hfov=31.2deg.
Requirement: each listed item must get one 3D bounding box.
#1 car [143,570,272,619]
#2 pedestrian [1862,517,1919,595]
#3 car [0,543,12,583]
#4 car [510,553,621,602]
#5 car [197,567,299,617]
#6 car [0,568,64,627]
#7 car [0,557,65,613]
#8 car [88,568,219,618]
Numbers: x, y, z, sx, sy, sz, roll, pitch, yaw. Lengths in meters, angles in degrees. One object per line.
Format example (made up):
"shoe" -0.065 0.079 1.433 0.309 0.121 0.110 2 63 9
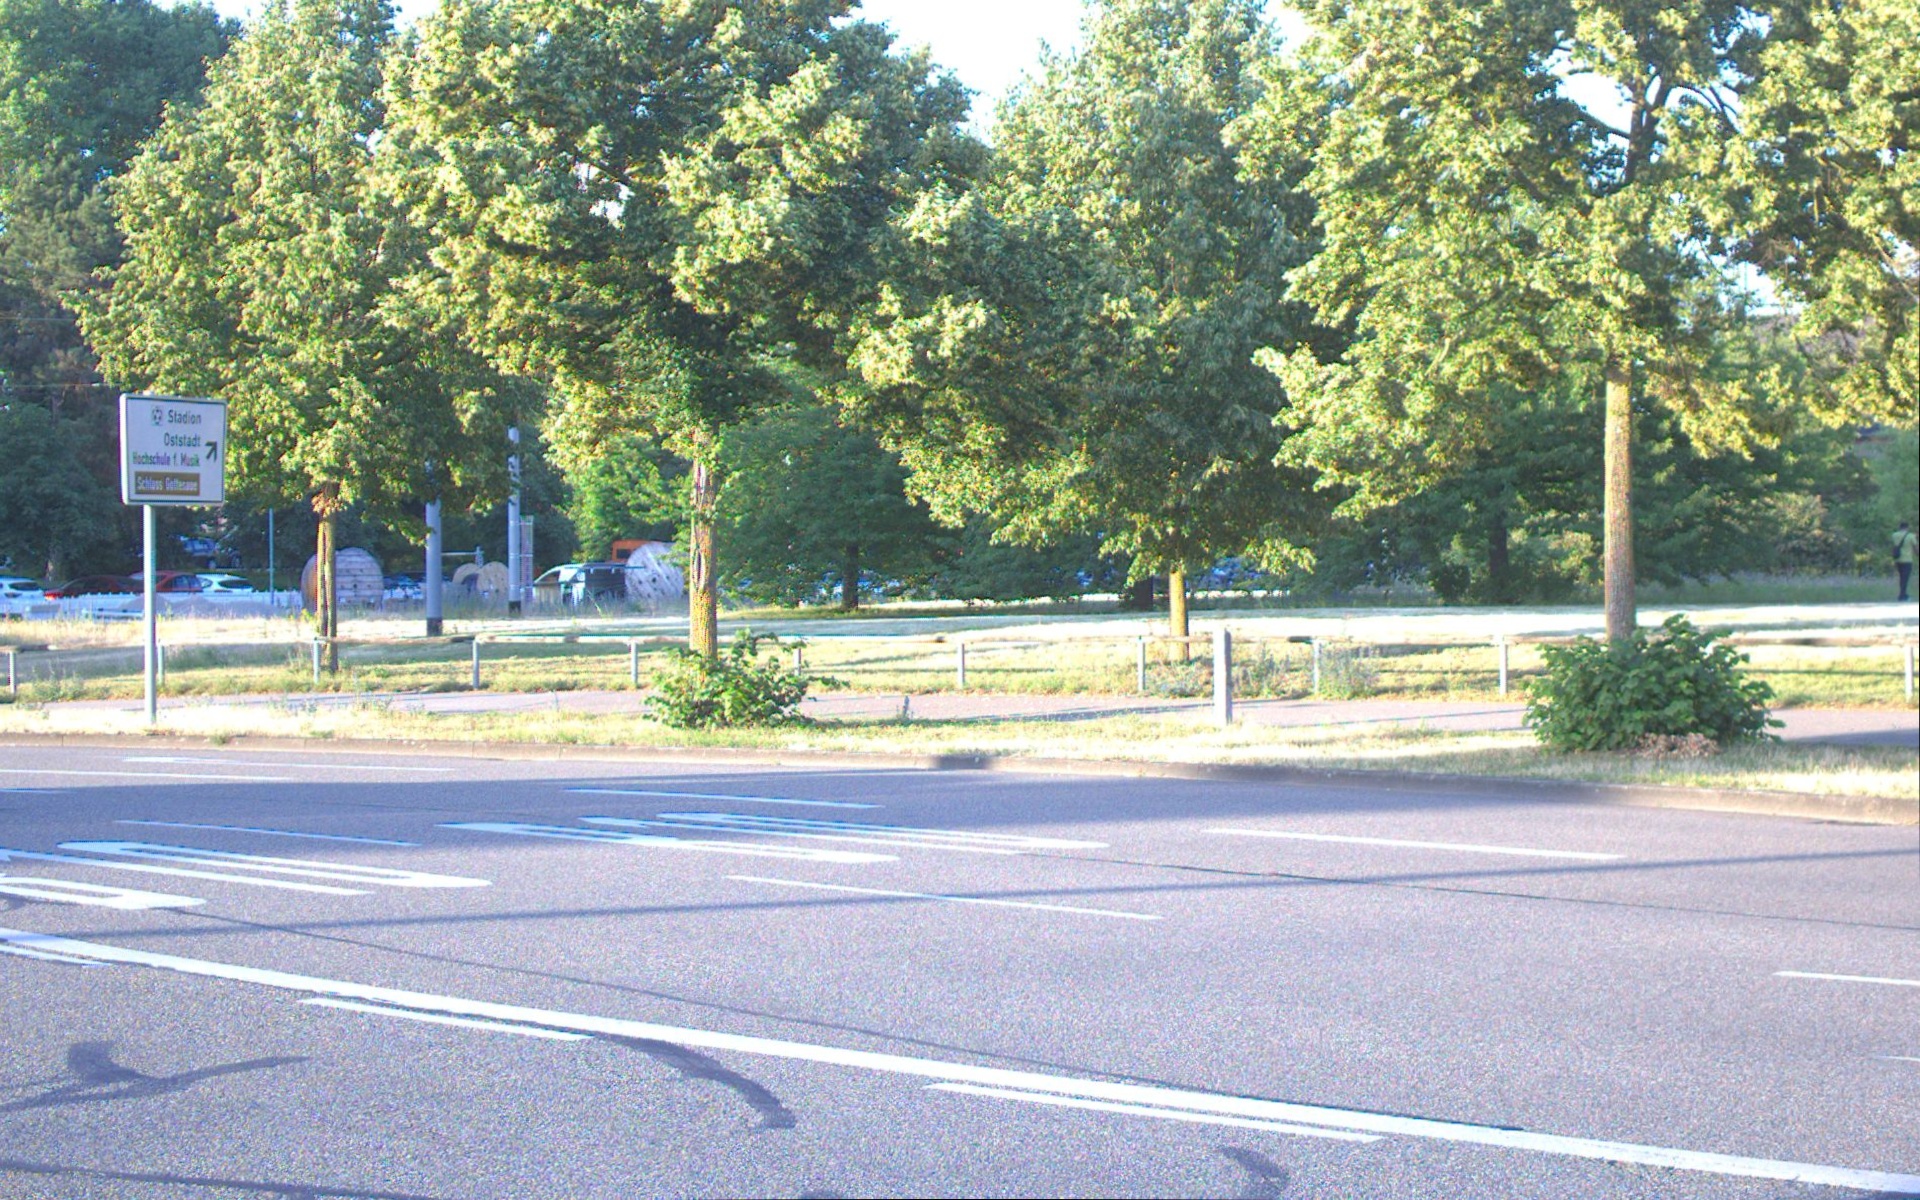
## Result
"car" -25.354 -0.195 115.824 3.994 1.598 1.996 0 1 33
"pedestrian" 19.472 -0.927 71.726 1.069 1.612 0.910 0 1 2
"car" -42.392 -1.563 145.366 3.988 1.700 2.000 0 1 7
"car" -13.212 -0.767 114.881 1.734 1.612 3.998 -1 1 -41
"car" -26.800 -0.310 129.303 1.994 1.746 4.597 -1 2 -37
"car" -33.130 -0.082 117.674 4.582 2.007 2.001 -1 1 -9
"car" -35.214 -0.539 125.808 4.582 2.007 2.001 -1 1 -9
"car" -26.758 -0.250 114.094 3.994 1.598 1.996 0 1 33
